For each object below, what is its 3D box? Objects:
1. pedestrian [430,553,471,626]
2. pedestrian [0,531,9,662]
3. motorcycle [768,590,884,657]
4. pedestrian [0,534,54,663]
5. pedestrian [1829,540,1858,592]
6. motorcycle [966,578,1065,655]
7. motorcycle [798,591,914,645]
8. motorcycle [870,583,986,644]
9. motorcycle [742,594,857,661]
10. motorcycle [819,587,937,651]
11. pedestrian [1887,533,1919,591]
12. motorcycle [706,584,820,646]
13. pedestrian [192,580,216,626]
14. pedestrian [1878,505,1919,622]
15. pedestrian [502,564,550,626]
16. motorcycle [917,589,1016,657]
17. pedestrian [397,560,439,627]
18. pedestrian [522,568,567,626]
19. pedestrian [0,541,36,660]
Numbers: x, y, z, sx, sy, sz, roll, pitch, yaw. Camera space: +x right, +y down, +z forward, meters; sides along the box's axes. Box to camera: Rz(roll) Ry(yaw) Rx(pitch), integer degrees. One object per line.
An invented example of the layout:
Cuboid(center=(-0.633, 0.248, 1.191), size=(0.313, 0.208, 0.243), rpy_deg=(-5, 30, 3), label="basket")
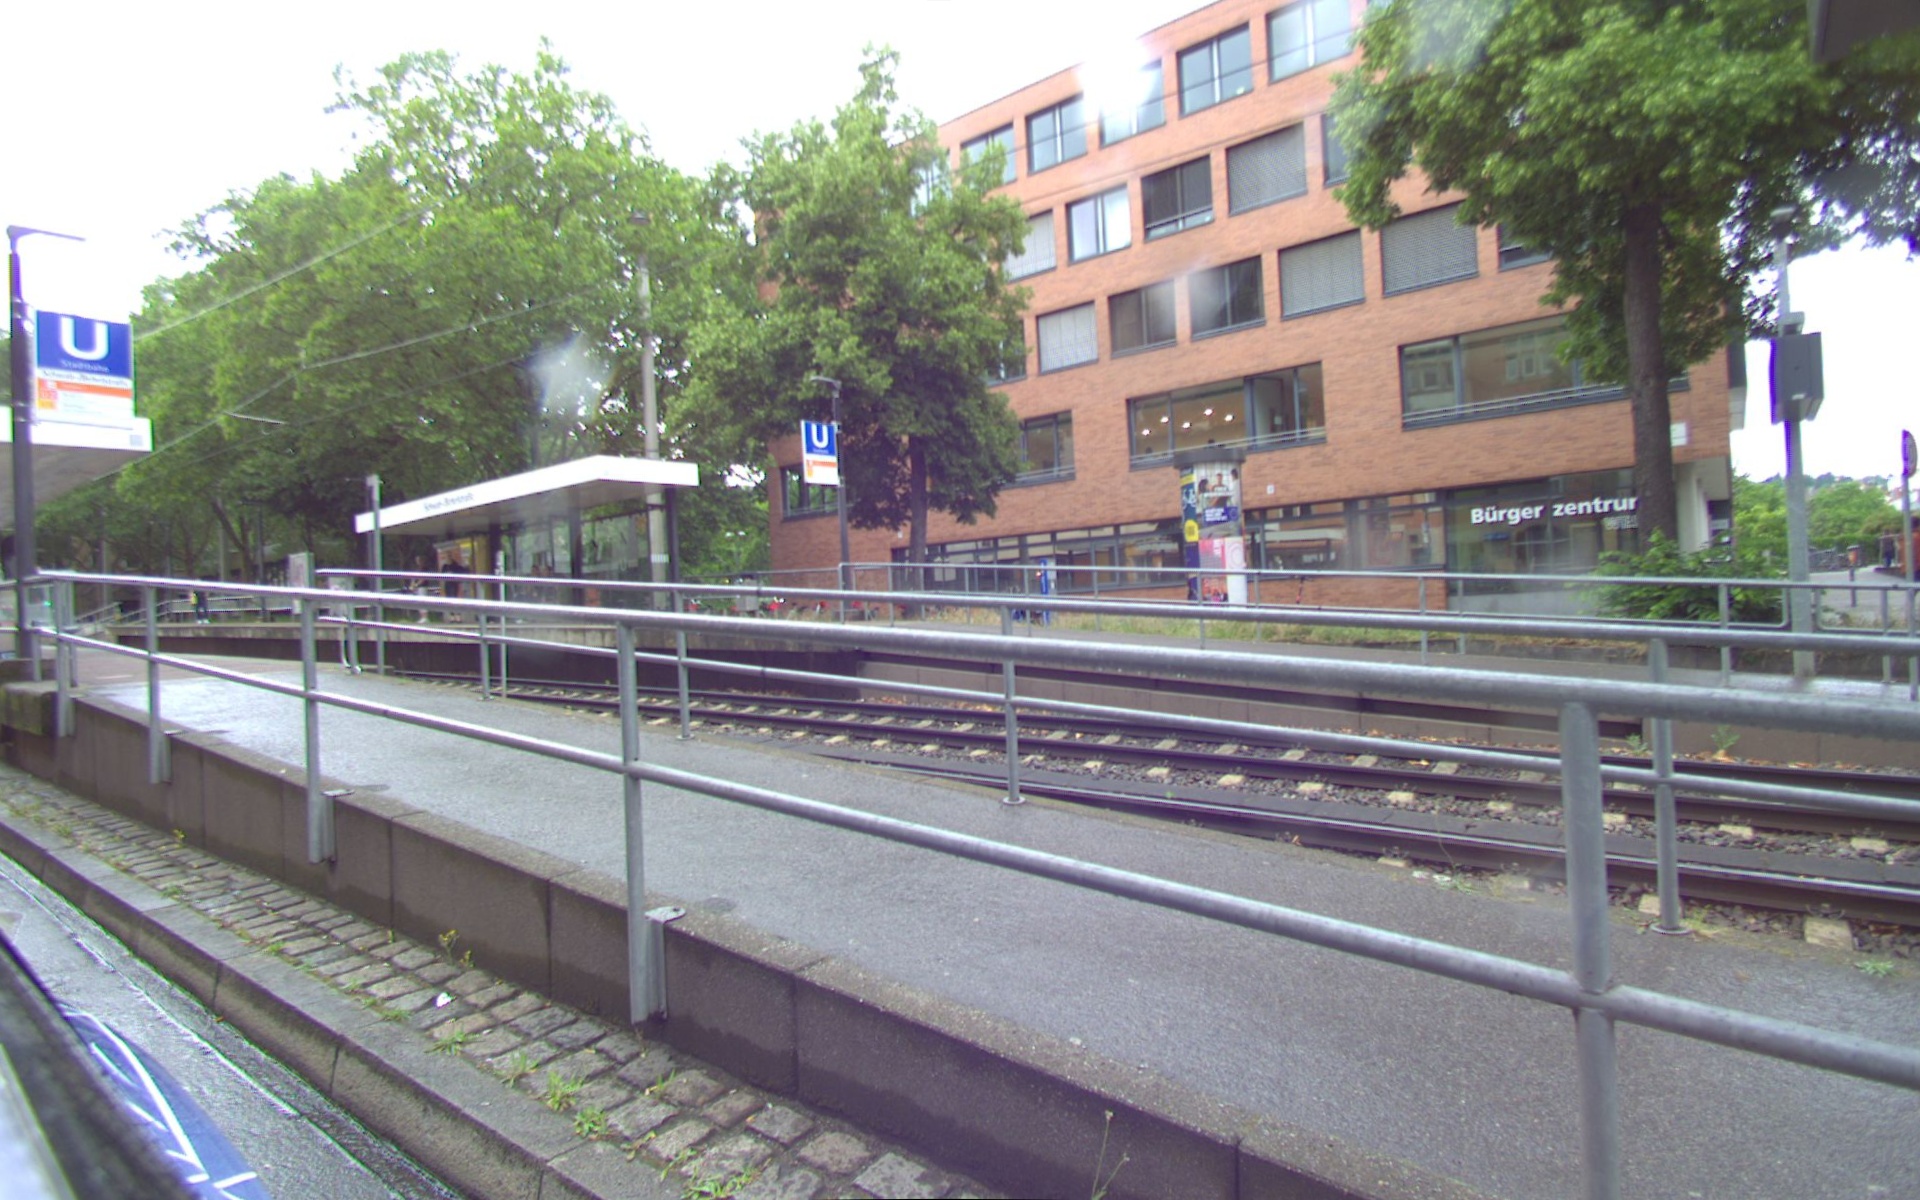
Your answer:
Cuboid(center=(-12.363, -0.259, 24.560), size=(0.704, 1.728, 0.557), rpy_deg=(-2, 0, 36), label="pedestrian")
Cuboid(center=(-12.771, -0.035, 13.086), size=(0.587, 1.701, 0.607), rpy_deg=(-2, 0, 42), label="pedestrian")
Cuboid(center=(-3.929, 0.651, 30.213), size=(1.004, 1.829, 3.829), rpy_deg=(-1, 1, 36), label="motorcycle")
Cuboid(center=(-11.919, -0.013, 12.802), size=(0.507, 1.593, 0.607), rpy_deg=(-2, 0, 41), label="pedestrian")
Cuboid(center=(34.714, -1.321, 39.776), size=(0.715, 2.029, 0.712), rpy_deg=(-1, -1, 33), label="pedestrian")
Cuboid(center=(1.449, 0.377, 25.610), size=(0.991, 1.829, 3.009), rpy_deg=(-1, 1, 36), label="motorcycle")
Cuboid(center=(-2.956, 0.480, 29.469), size=(1.004, 1.417, 3.829), rpy_deg=(-1, 1, 36), label="motorcycle")
Cuboid(center=(-0.816, 0.332, 27.789), size=(1.004, 1.499, 3.829), rpy_deg=(-1, 1, 36), label="motorcycle")
Cuboid(center=(-4.826, 0.789, 30.923), size=(1.004, 1.829, 3.829), rpy_deg=(-1, 1, 36), label="motorcycle")
Cuboid(center=(-2.238, 0.479, 28.441), size=(1.004, 1.617, 3.829), rpy_deg=(-1, 1, 36), label="motorcycle")
Cuboid(center=(33.881, -1.345, 36.332), size=(0.715, 2.029, 0.712), rpy_deg=(-1, -1, 33), label="pedestrian")
Cuboid(center=(-6.119, 0.432, 31.812), size=(1.004, 1.787, 3.829), rpy_deg=(-1, 1, 36), label="motorcycle")
Cuboid(center=(-27.468, 0.115, 36.785), size=(0.689, 1.653, 0.556), rpy_deg=(-2, 0, 45), label="pedestrian")
Cuboid(center=(17.092, -0.649, 17.983), size=(0.977, 2.029, 0.727), rpy_deg=(-1, 0, 30), label="pedestrian")
Cuboid(center=(-9.880, -0.119, 23.038), size=(0.563, 1.373, 0.770), rpy_deg=(-2, 0, 36), label="pedestrian")
Cuboid(center=(0.224, 0.568, 26.842), size=(1.004, 1.640, 3.031), rpy_deg=(-1, 1, 36), label="motorcycle")
Cuboid(center=(-13.629, -0.174, 25.446), size=(0.563, 1.653, 0.680), rpy_deg=(-2, 0, 36), label="pedestrian")
Cuboid(center=(-9.320, -0.069, 22.692), size=(0.563, 1.249, 0.697), rpy_deg=(-2, 0, 36), label="pedestrian")
Cuboid(center=(-12.987, 0.008, 13.715), size=(0.507, 1.593, 0.607), rpy_deg=(-2, 0, 41), label="pedestrian")
